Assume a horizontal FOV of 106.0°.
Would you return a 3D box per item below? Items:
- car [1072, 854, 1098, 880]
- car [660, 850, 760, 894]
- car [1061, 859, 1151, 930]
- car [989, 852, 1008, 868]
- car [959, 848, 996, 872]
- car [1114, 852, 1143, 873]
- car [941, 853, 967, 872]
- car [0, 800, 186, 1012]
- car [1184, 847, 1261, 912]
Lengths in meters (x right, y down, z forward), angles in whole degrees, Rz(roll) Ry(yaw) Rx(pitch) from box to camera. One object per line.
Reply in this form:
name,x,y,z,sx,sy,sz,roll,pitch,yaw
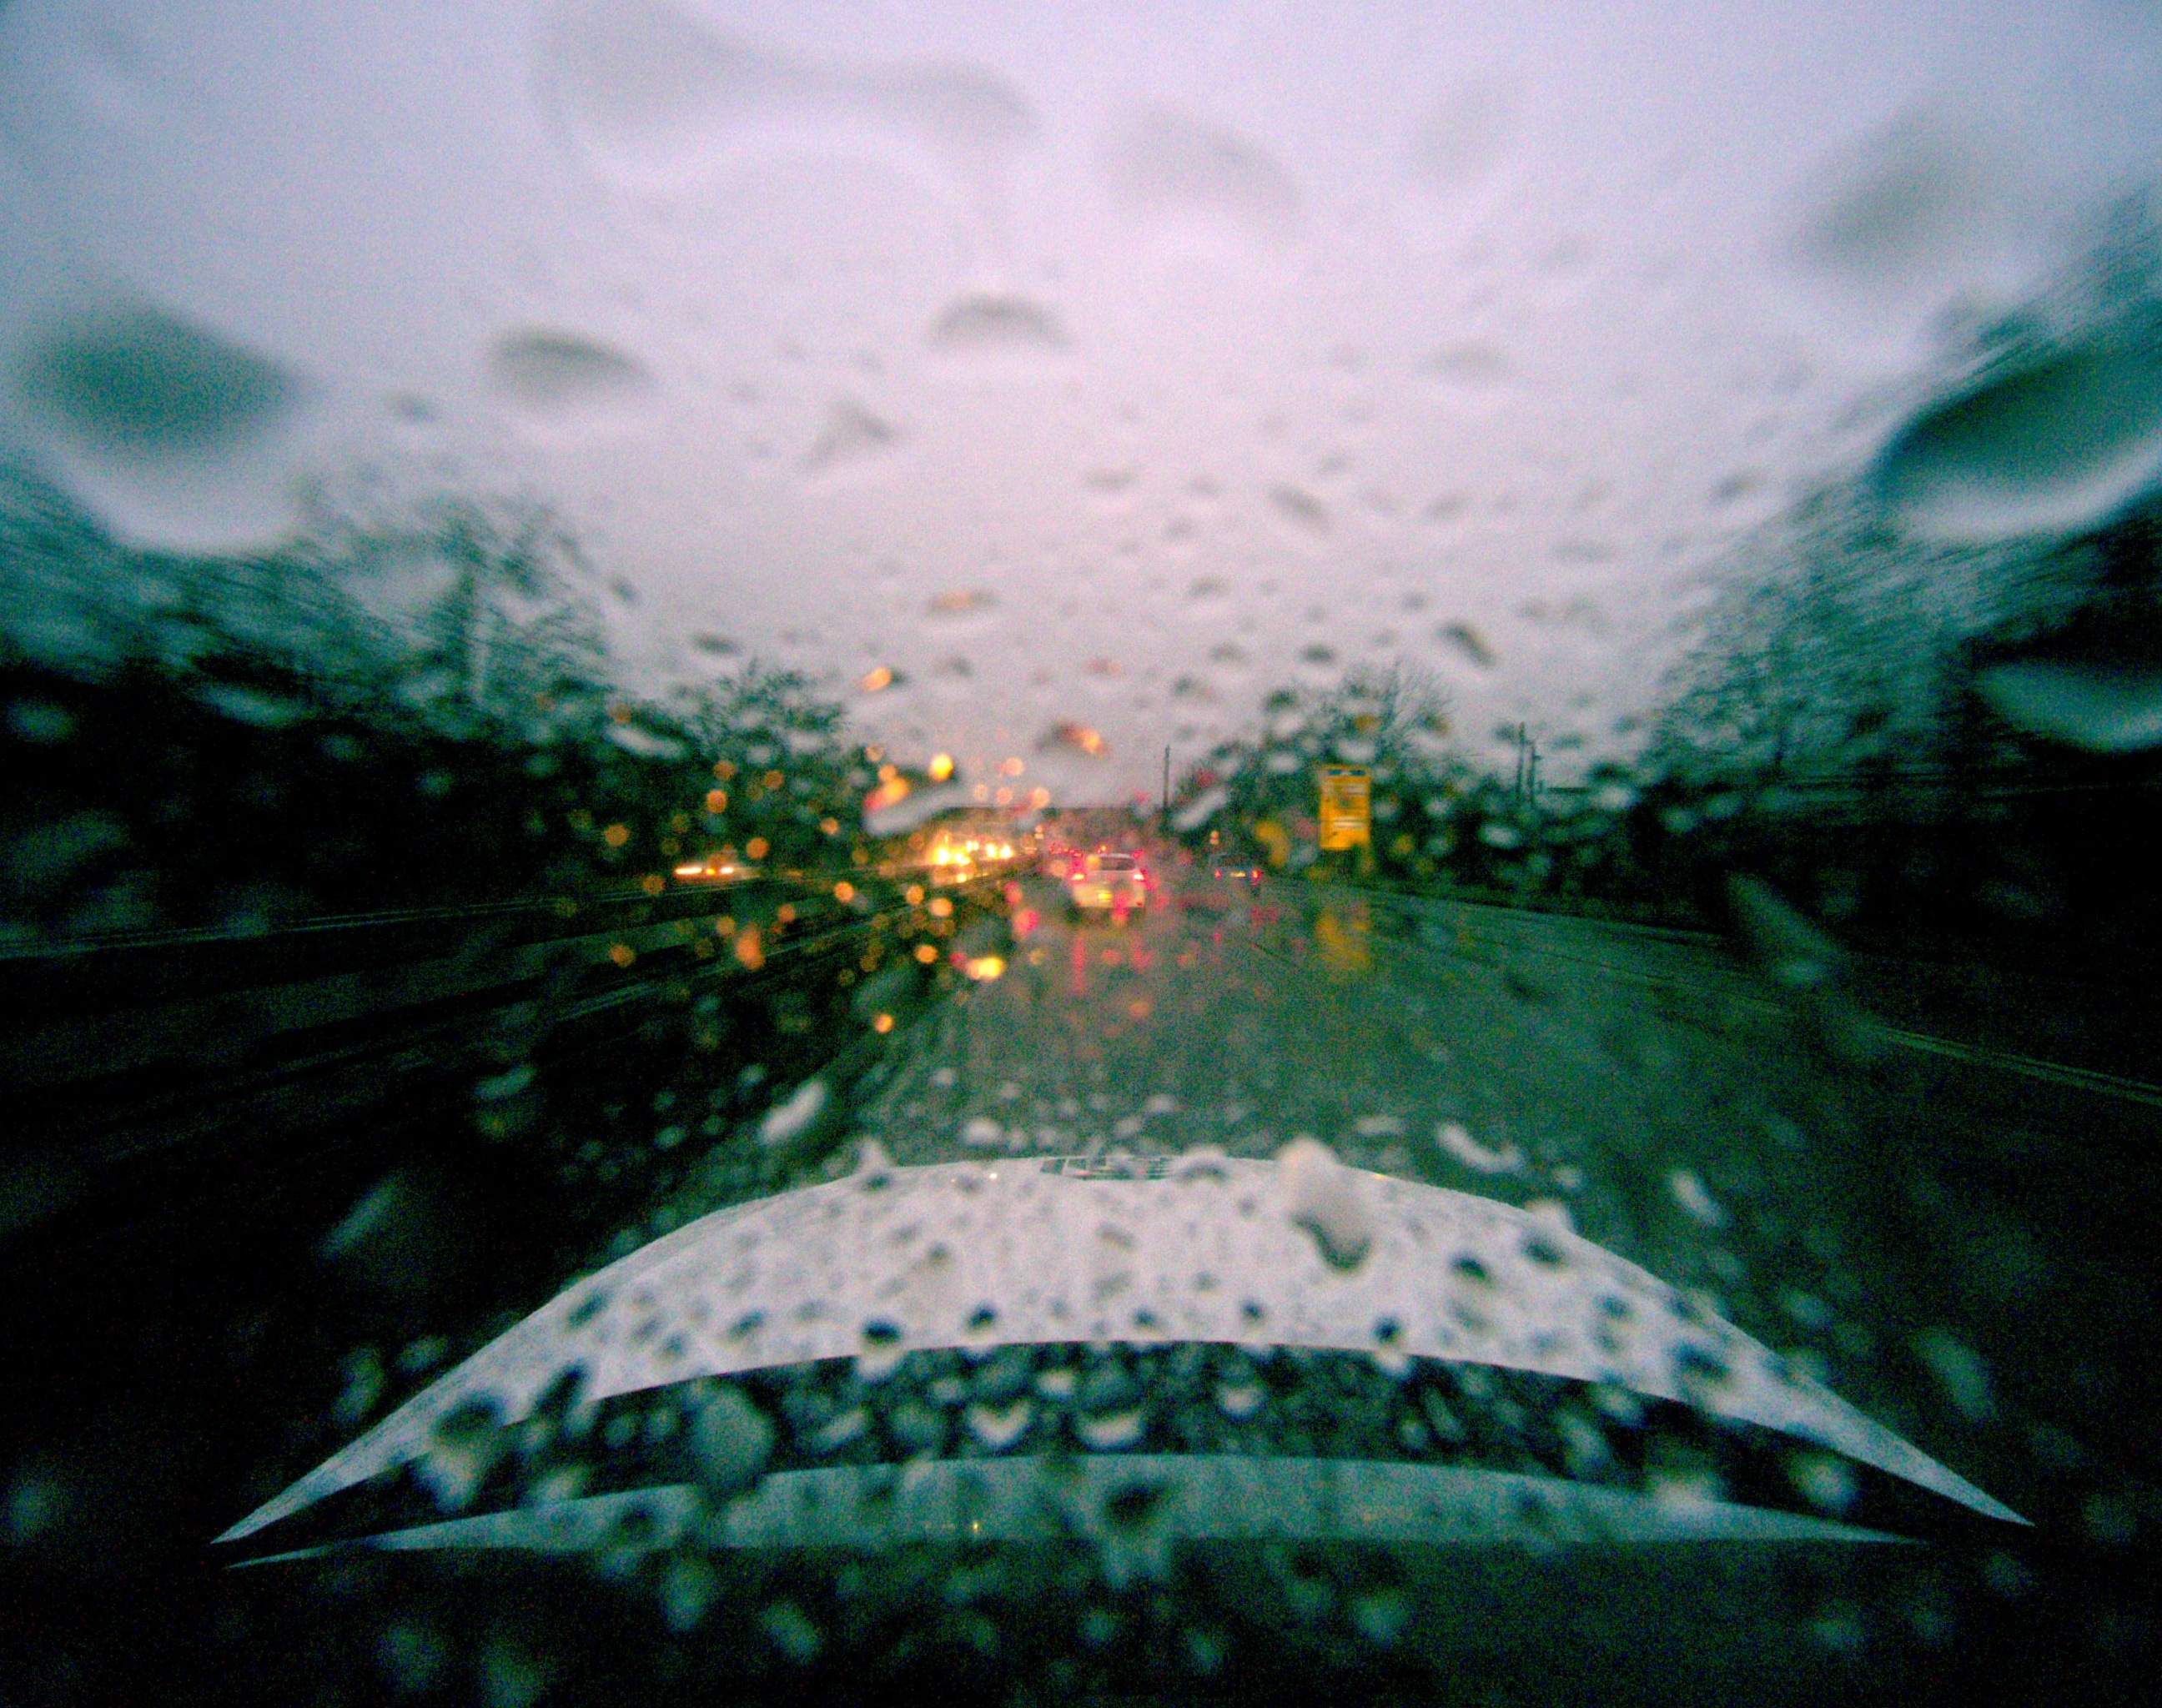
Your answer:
car,0.323,1.010,64.982,1.987,2.014,3.999,1,0,-1
car,-14.194,0.661,31.466,1.856,1.539,4.114,1,0,1
car,0.657,0.932,20.501,2.016,1.575,4.003,1,0,3
car,-9.131,0.618,90.064,1.762,1.684,3.998,1,0,-1
car,-6.484,0.367,51.274,1.748,1.441,4.001,1,0,1
car,3.975,0.722,68.820,1.928,1.546,3.768,-5,-2,-3
car,-11.443,0.766,73.601,1.686,1.666,4.432,1,0,0
car,-10.298,0.428,6.039,1.876,1.832,4.789,1,0,2
car,4.729,0.820,27.711,1.927,2.019,3.771,1,0,-1
